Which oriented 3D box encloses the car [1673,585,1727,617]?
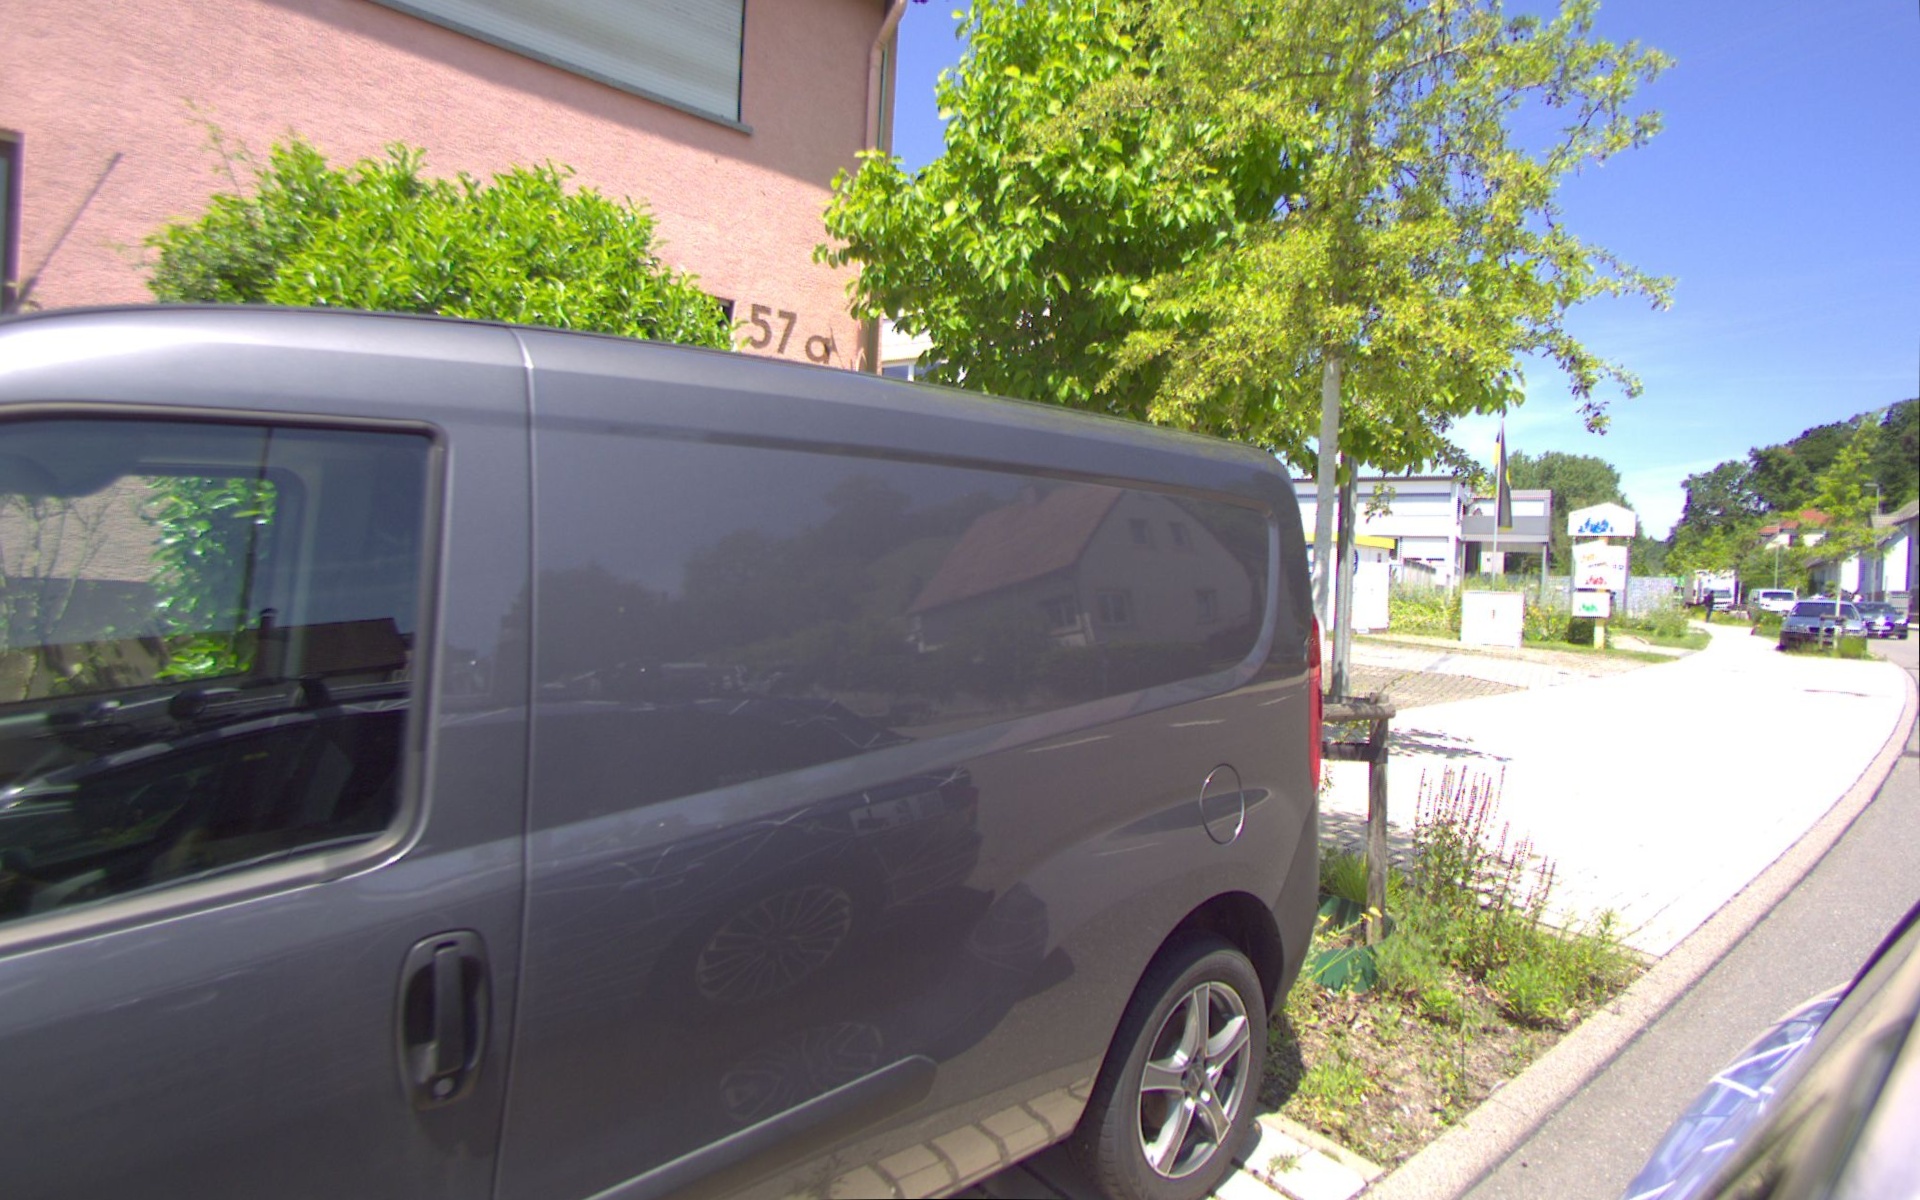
[{"bbox_3d":[38.456,0.032,52.672,1.637,1.549,3.827,1,1,27],"label":"car"}]

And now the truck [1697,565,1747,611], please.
[{"bbox_3d":[60.563,-0.985,80.593,2.790,3.456,8.017,1,1,35],"label":"truck"}]

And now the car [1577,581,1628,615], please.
[{"bbox_3d":[31.734,-0.126,50.048,1.986,1.504,3.954,5,3,32],"label":"car"}]

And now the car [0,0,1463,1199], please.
[{"bbox_3d":[-1.100,0.409,1.793,4.588,1.865,1.859,0,2,-40],"label":"car"}]

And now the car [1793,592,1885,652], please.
[{"bbox_3d":[23.127,0.536,26.684,1.670,1.393,3.941,3,2,41],"label":"car"}]

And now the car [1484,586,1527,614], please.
[{"bbox_3d":[28.360,-0.026,52.556,1.732,1.382,3.796,1,1,32],"label":"car"}]

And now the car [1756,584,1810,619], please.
[{"bbox_3d":[46.960,0.073,57.826,1.957,1.856,4.409,3,2,35],"label":"car"}]

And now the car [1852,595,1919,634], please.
[{"bbox_3d":[35.490,0.519,38.536,1.901,1.366,3.947,2,1,37],"label":"car"}]
